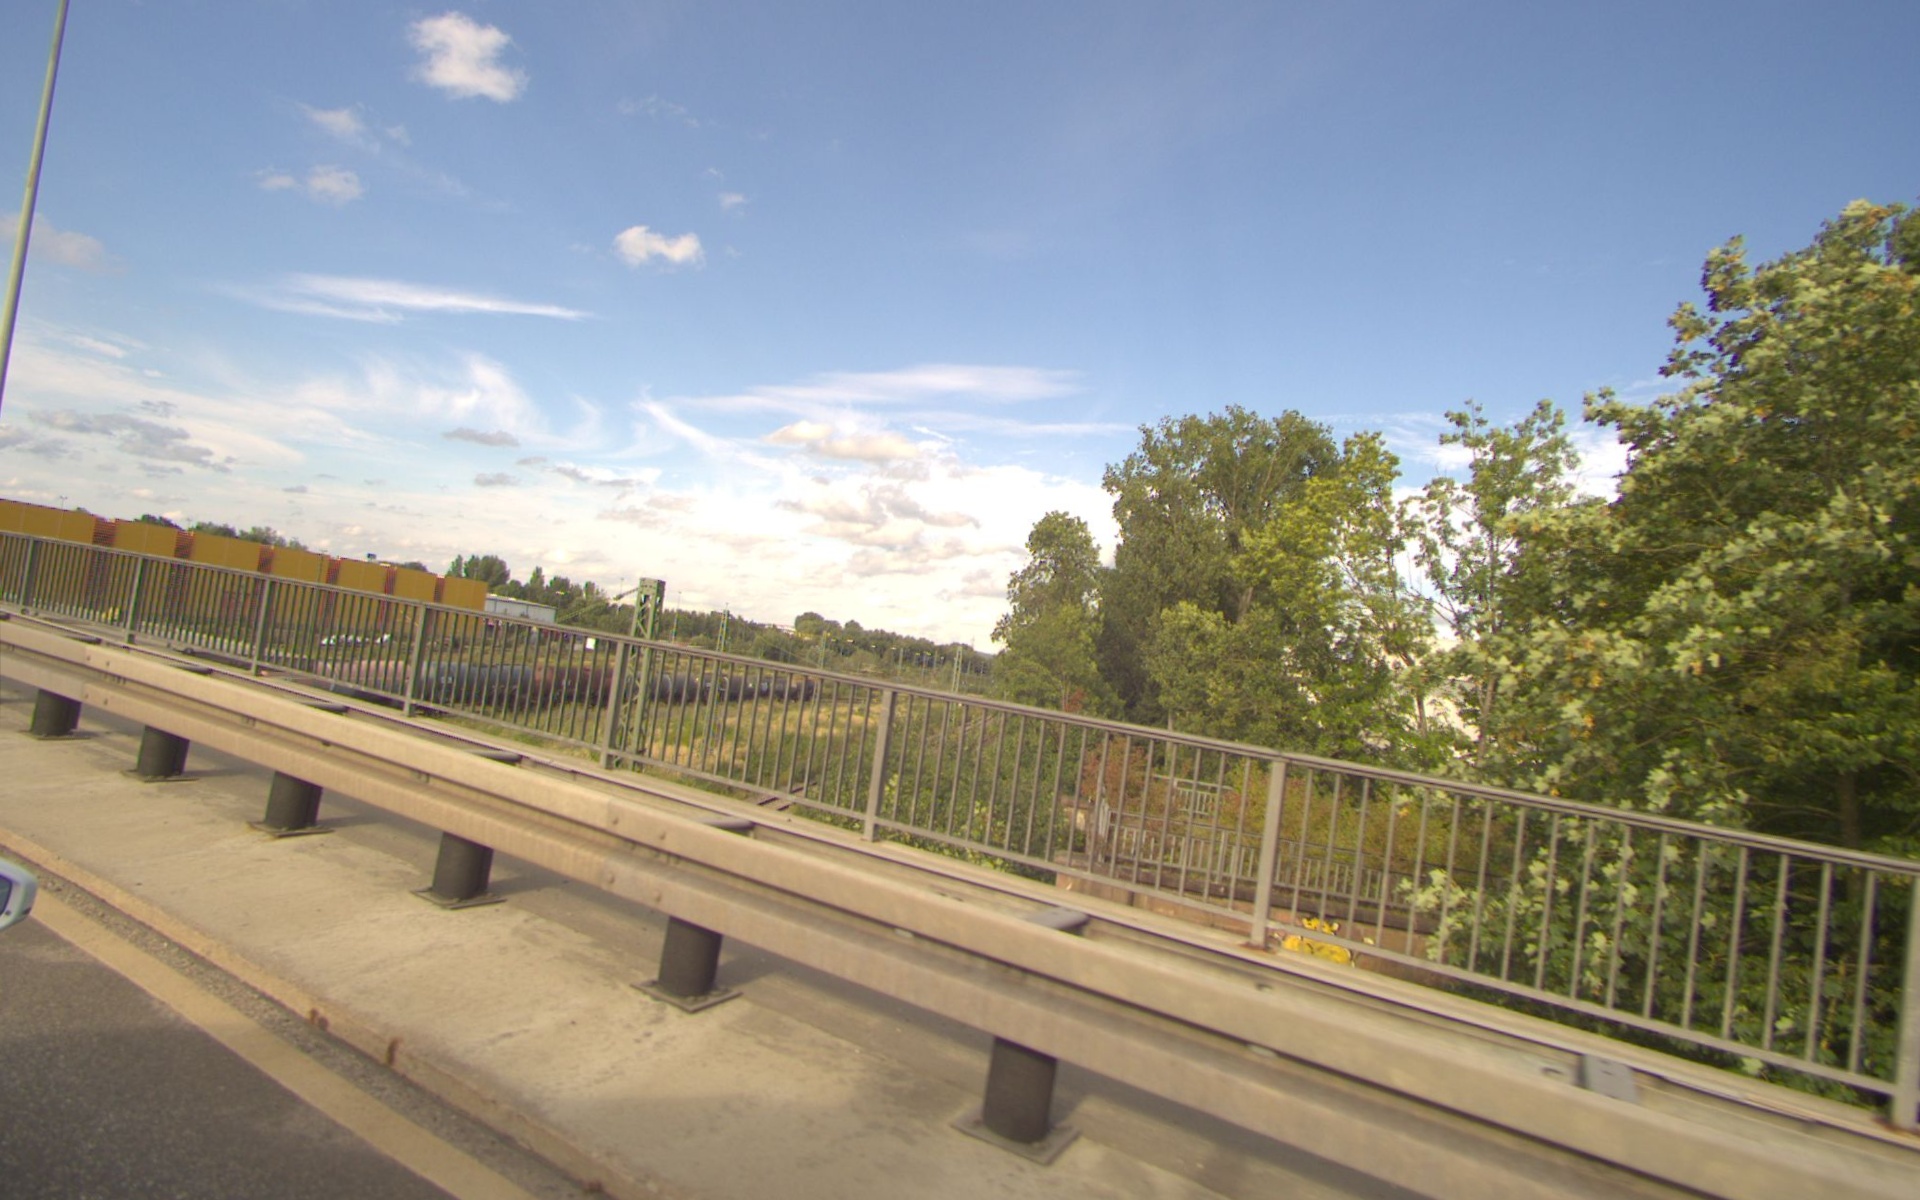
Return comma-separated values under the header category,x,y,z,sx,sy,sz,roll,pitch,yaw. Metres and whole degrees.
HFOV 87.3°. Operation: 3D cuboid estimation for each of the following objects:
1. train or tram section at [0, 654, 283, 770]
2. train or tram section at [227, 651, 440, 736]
category,x,y,z,sx,sy,sz,roll,pitch,yaw
train or tram section,-44.720,5.582,54.591,3.038,4.767,16.765,7,-2,5
train or tram section,-43.481,6.266,71.261,3.038,4.767,16.765,7,-2,5
